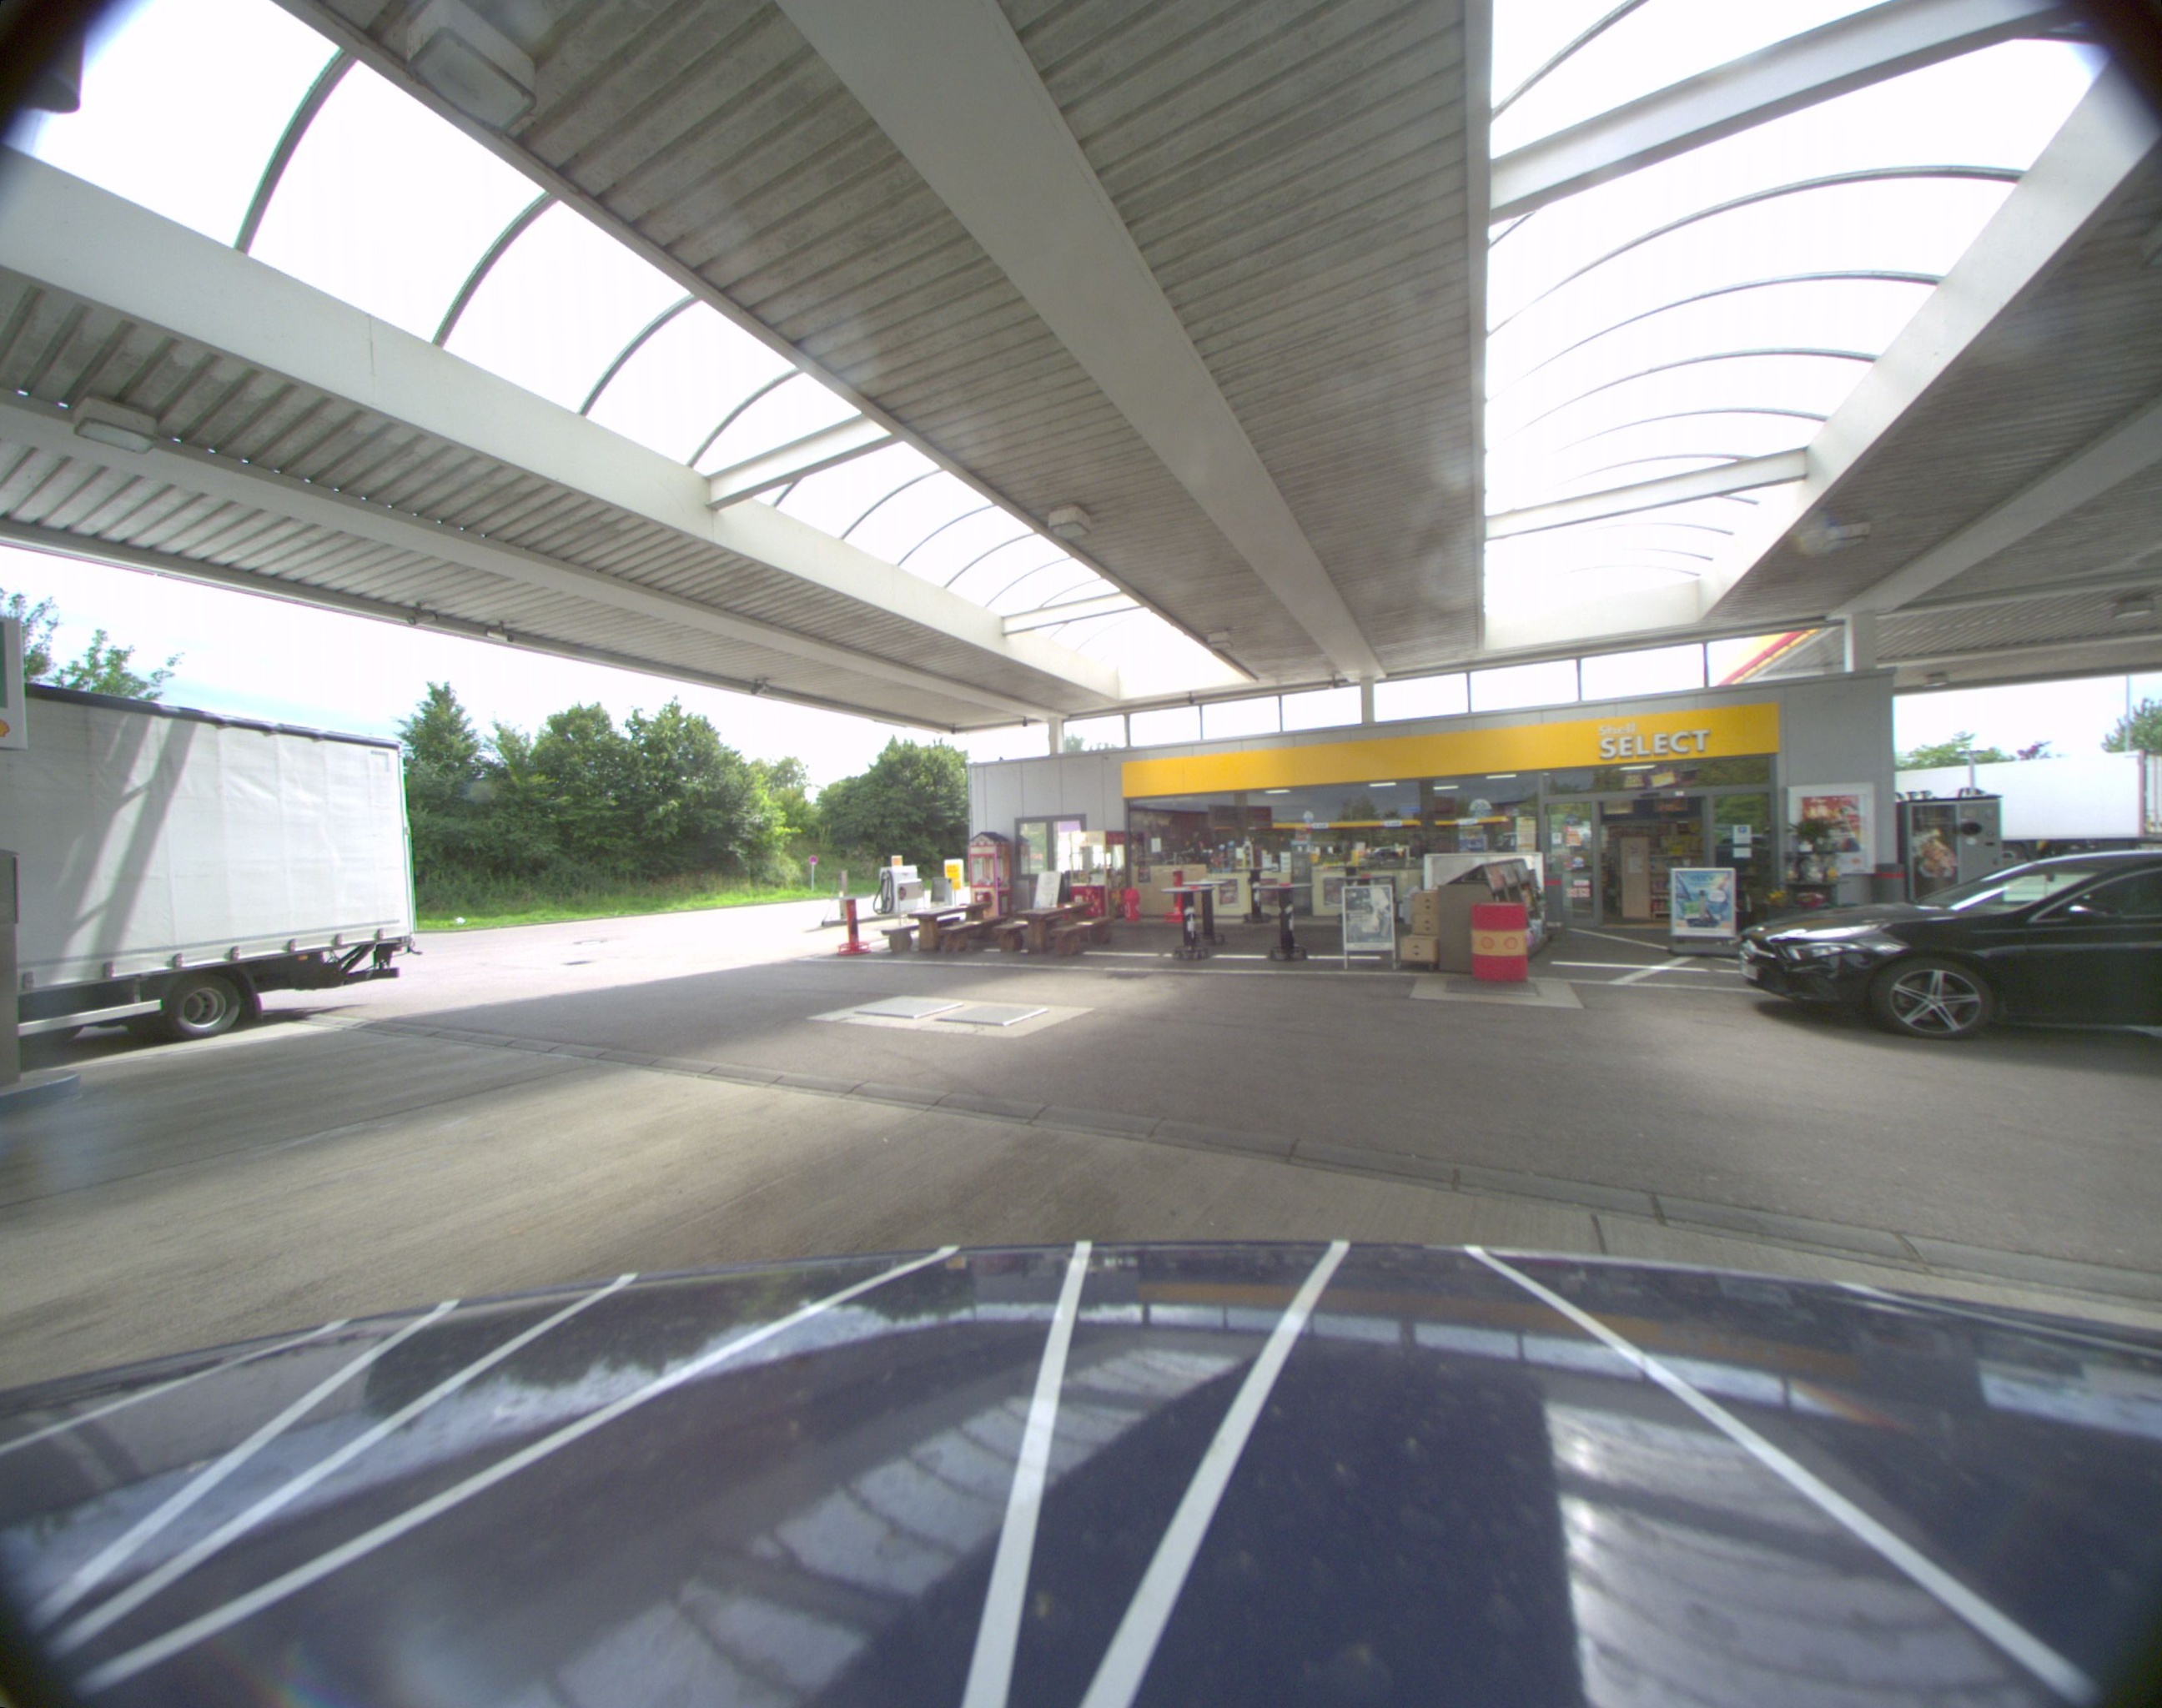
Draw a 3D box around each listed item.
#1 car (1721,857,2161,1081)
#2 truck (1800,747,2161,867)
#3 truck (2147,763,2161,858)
[{"bbox_3d":[8.157,0.817,5.992,4.461,1.491,1.782,-2,1,28],"label":"car"},{"bbox_3d":[35.124,-1.604,30.076,2.796,3.982,9.578,-2,1,-16],"label":"truck"},{"bbox_3d":[51.473,-2.028,33.157,3.383,4.479,6.239,-2,1,29],"label":"truck"}]
